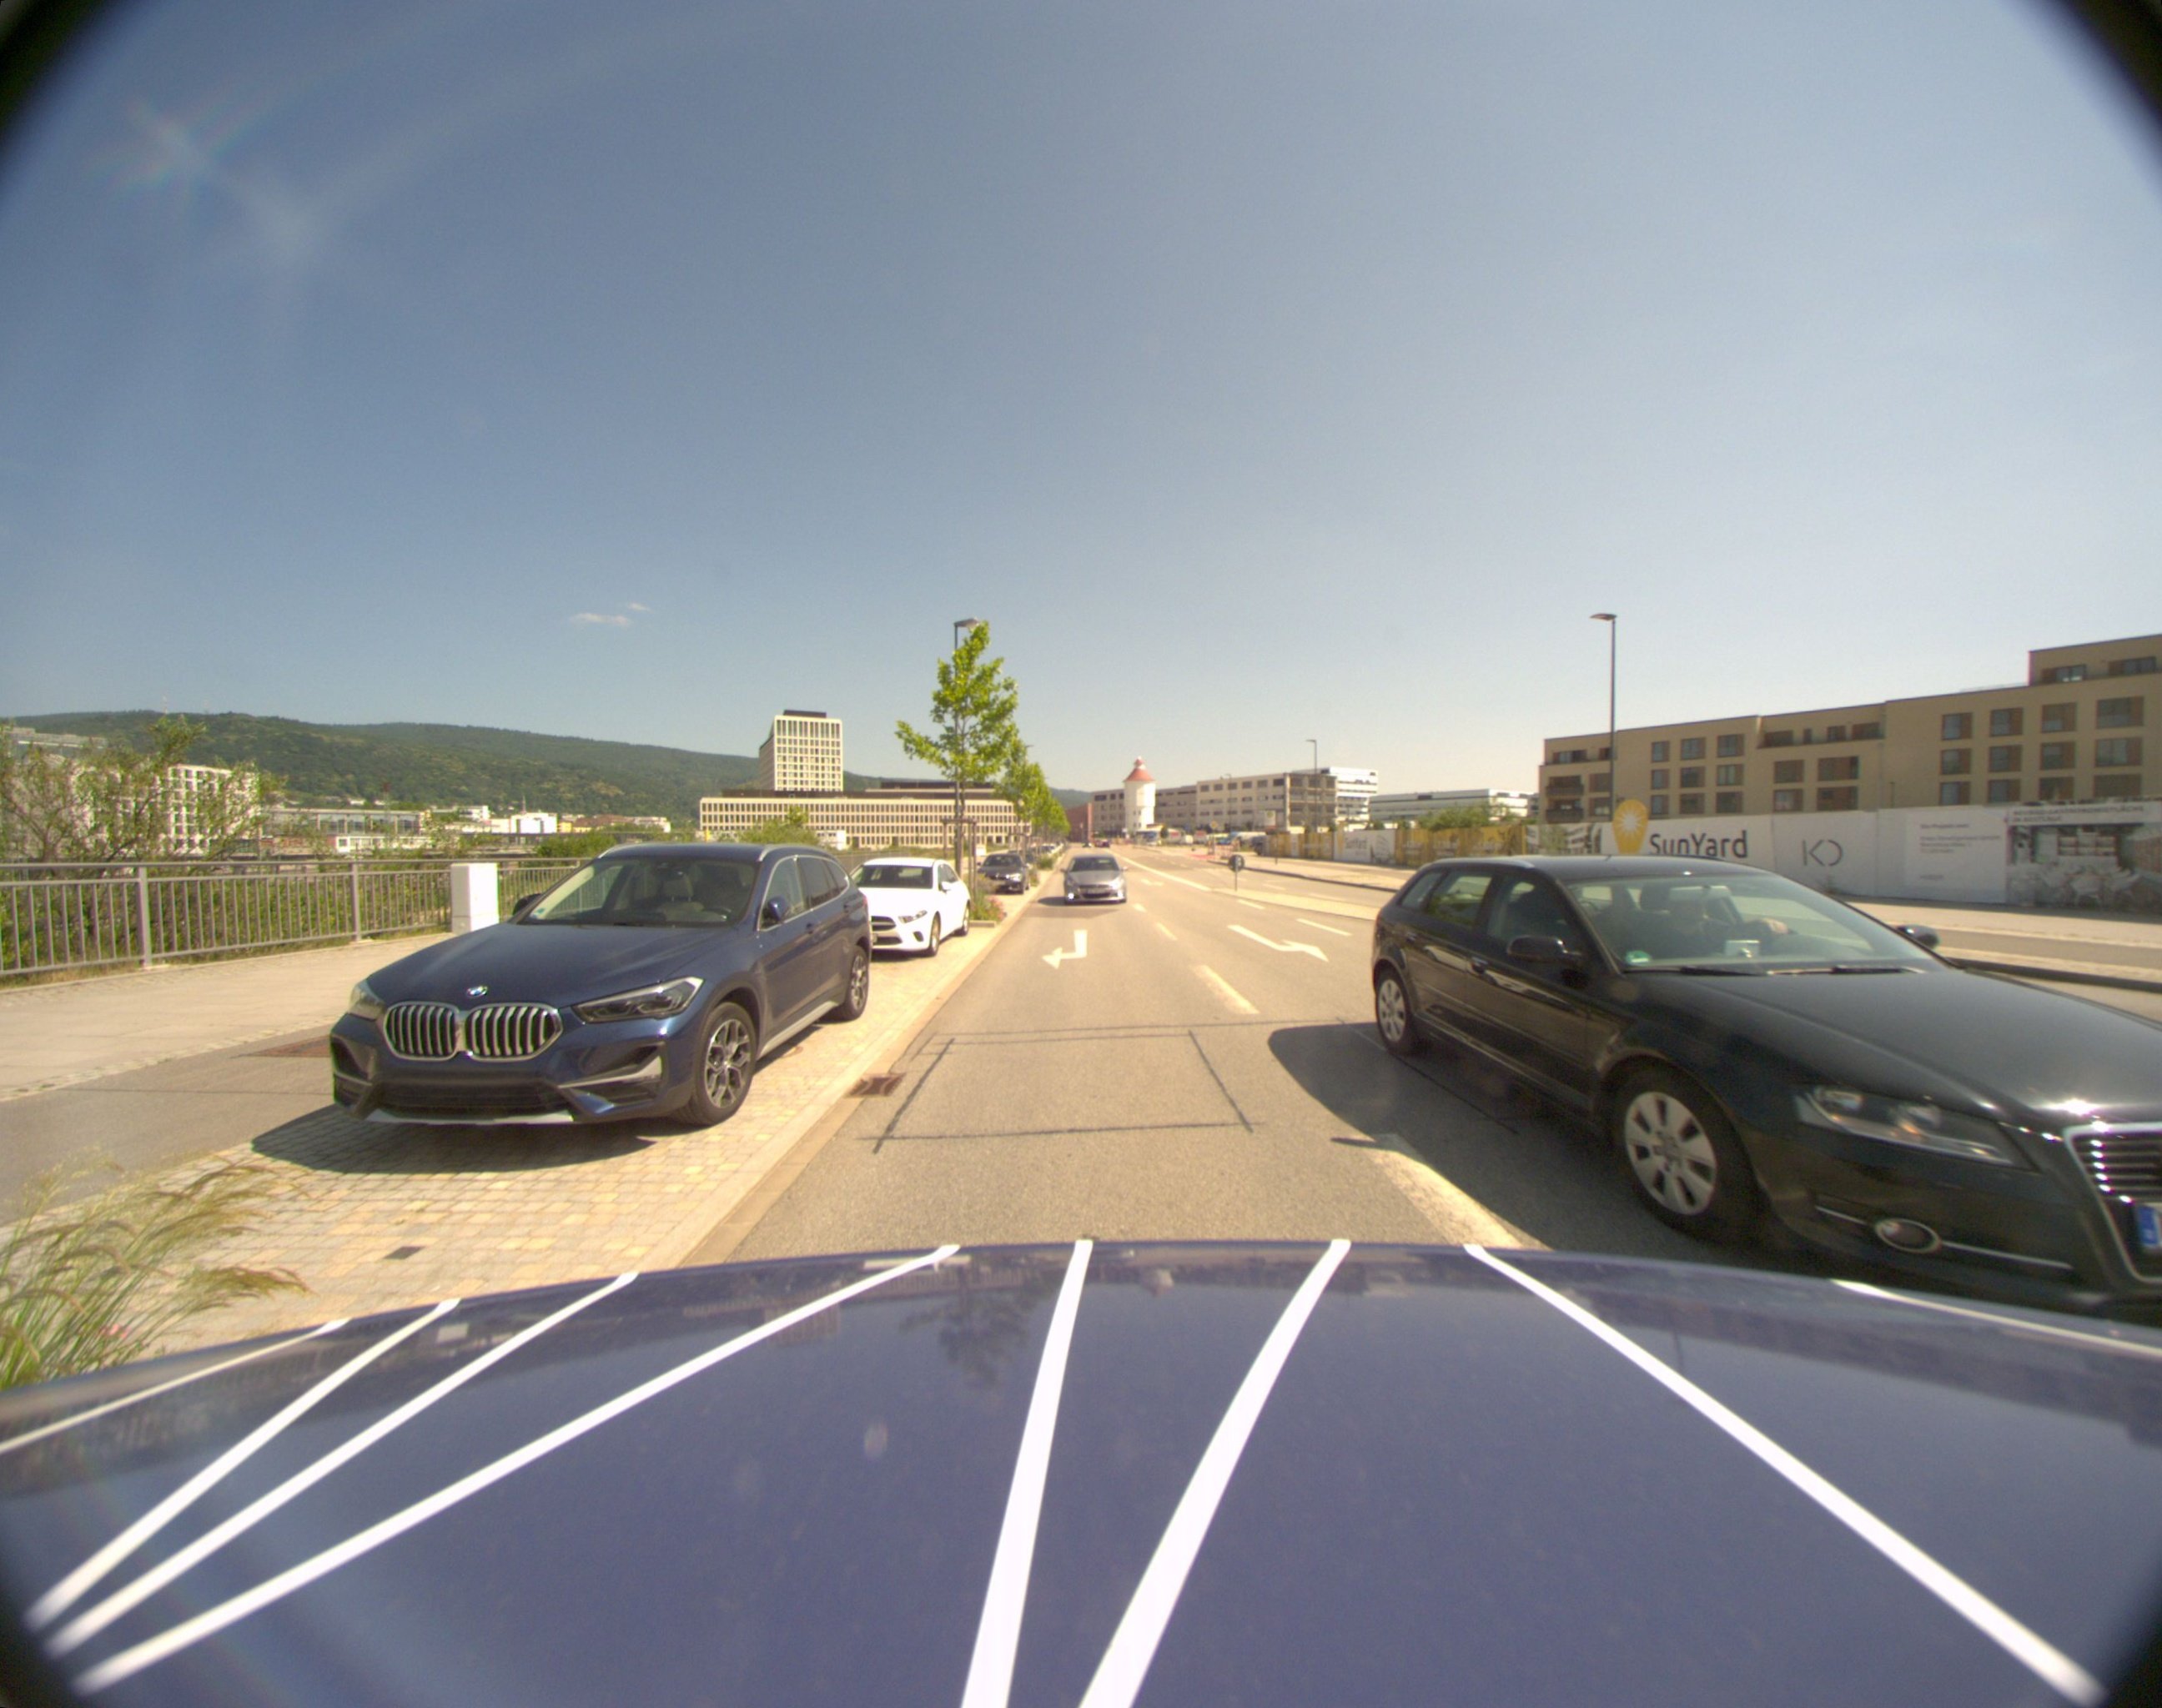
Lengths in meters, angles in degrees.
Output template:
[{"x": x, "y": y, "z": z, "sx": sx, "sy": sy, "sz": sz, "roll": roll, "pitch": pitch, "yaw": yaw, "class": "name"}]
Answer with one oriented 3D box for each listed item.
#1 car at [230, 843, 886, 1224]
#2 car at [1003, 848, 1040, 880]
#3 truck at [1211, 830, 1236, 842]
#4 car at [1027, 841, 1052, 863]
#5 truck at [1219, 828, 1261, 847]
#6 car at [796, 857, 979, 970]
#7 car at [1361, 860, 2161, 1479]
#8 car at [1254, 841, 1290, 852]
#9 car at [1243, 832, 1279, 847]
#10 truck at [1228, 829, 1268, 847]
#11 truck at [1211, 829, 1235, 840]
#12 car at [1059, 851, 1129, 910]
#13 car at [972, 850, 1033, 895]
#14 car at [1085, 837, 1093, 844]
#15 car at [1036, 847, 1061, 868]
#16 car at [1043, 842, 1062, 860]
[{"x": -2.882, "y": 0.779, "z": 5.535, "sx": 1.808, "sy": 1.674, "sz": 4.269, "roll": 1, "pitch": 1, "yaw": 0, "class": "car"}, {"x": -2.950, "y": 0.473, "z": 38.015, "sx": 1.569, "sy": 1.465, "sz": 3.006, "roll": 2, "pitch": 1, "yaw": 0, "class": "car"}, {"x": 33.352, "y": -4.189, "z": 177.330, "sx": 5.333, "sy": 2.461, "sz": 1.999, "roll": -3, "pitch": 1, "yaw": -4, "class": "truck"}, {"x": -3.306, "y": -0.163, "z": 61.135, "sx": 1.768, "sy": 1.609, "sz": 3.373, "roll": -3, "pitch": 1, "yaw": 0, "class": "car"}, {"x": 23.693, "y": -2.467, "z": 113.380, "sx": 5.633, "sy": 2.461, "sz": 1.999, "roll": -3, "pitch": 1, "yaw": -4, "class": "truck"}, {"x": -2.910, "y": 0.810, "z": 12.400, "sx": 1.710, "sy": 1.366, "sz": 4.270, "roll": 2, "pitch": 1, "yaw": 2, "class": "car"}, {"x": 3.023, "y": 0.820, "z": 3.910, "sx": 1.709, "sy": 1.404, "sz": 3.999, "roll": -2, "pitch": 1, "yaw": 1, "class": "car"}, {"x": 19.619, "y": -0.759, "z": 78.056, "sx": 3.359, "sy": 0.947, "sz": 1.293, "roll": -2, "pitch": 1, "yaw": 3, "class": "car"}, {"x": 22.875, "y": -1.876, "z": 96.553, "sx": 3.930, "sy": 1.708, "sz": 1.891, "roll": -3, "pitch": 1, "yaw": -5, "class": "car"}, {"x": 23.304, "y": -2.262, "z": 105.987, "sx": 5.005, "sy": 2.215, "sz": 1.999, "roll": -2, "pitch": 1, "yaw": -1, "class": "truck"}, {"x": 34.565, "y": -4.679, "z": 185.368, "sx": 5.412, "sy": 2.461, "sz": 1.999, "roll": -2, "pitch": 1, "yaw": -2, "class": "truck"}, {"x": 0.394, "y": 0.707, "z": 22.560, "sx": 1.820, "sy": 1.459, "sz": 4.346, "roll": -2, "pitch": 1, "yaw": 1, "class": "car"}, {"x": -2.796, "y": 0.631, "z": 27.825, "sx": 1.808, "sy": 1.424, "sz": 3.915, "roll": 2, "pitch": 1, "yaw": 0, "class": "car"}, {"x": 1.845, "y": -3.127, "z": 175.958, "sx": 1.819, "sy": 1.458, "sz": 4.347, "roll": -3, "pitch": 1, "yaw": 2, "class": "car"}, {"x": -2.169, "y": 0.224, "z": 50.648, "sx": 1.490, "sy": 1.302, "sz": 3.154, "roll": 2, "pitch": 1, "yaw": 0, "class": "car"}, {"x": -2.646, "y": -0.289, "z": 70.664, "sx": 1.526, "sy": 1.482, "sz": 3.504, "roll": -3, "pitch": 1, "yaw": 0, "class": "car"}]
